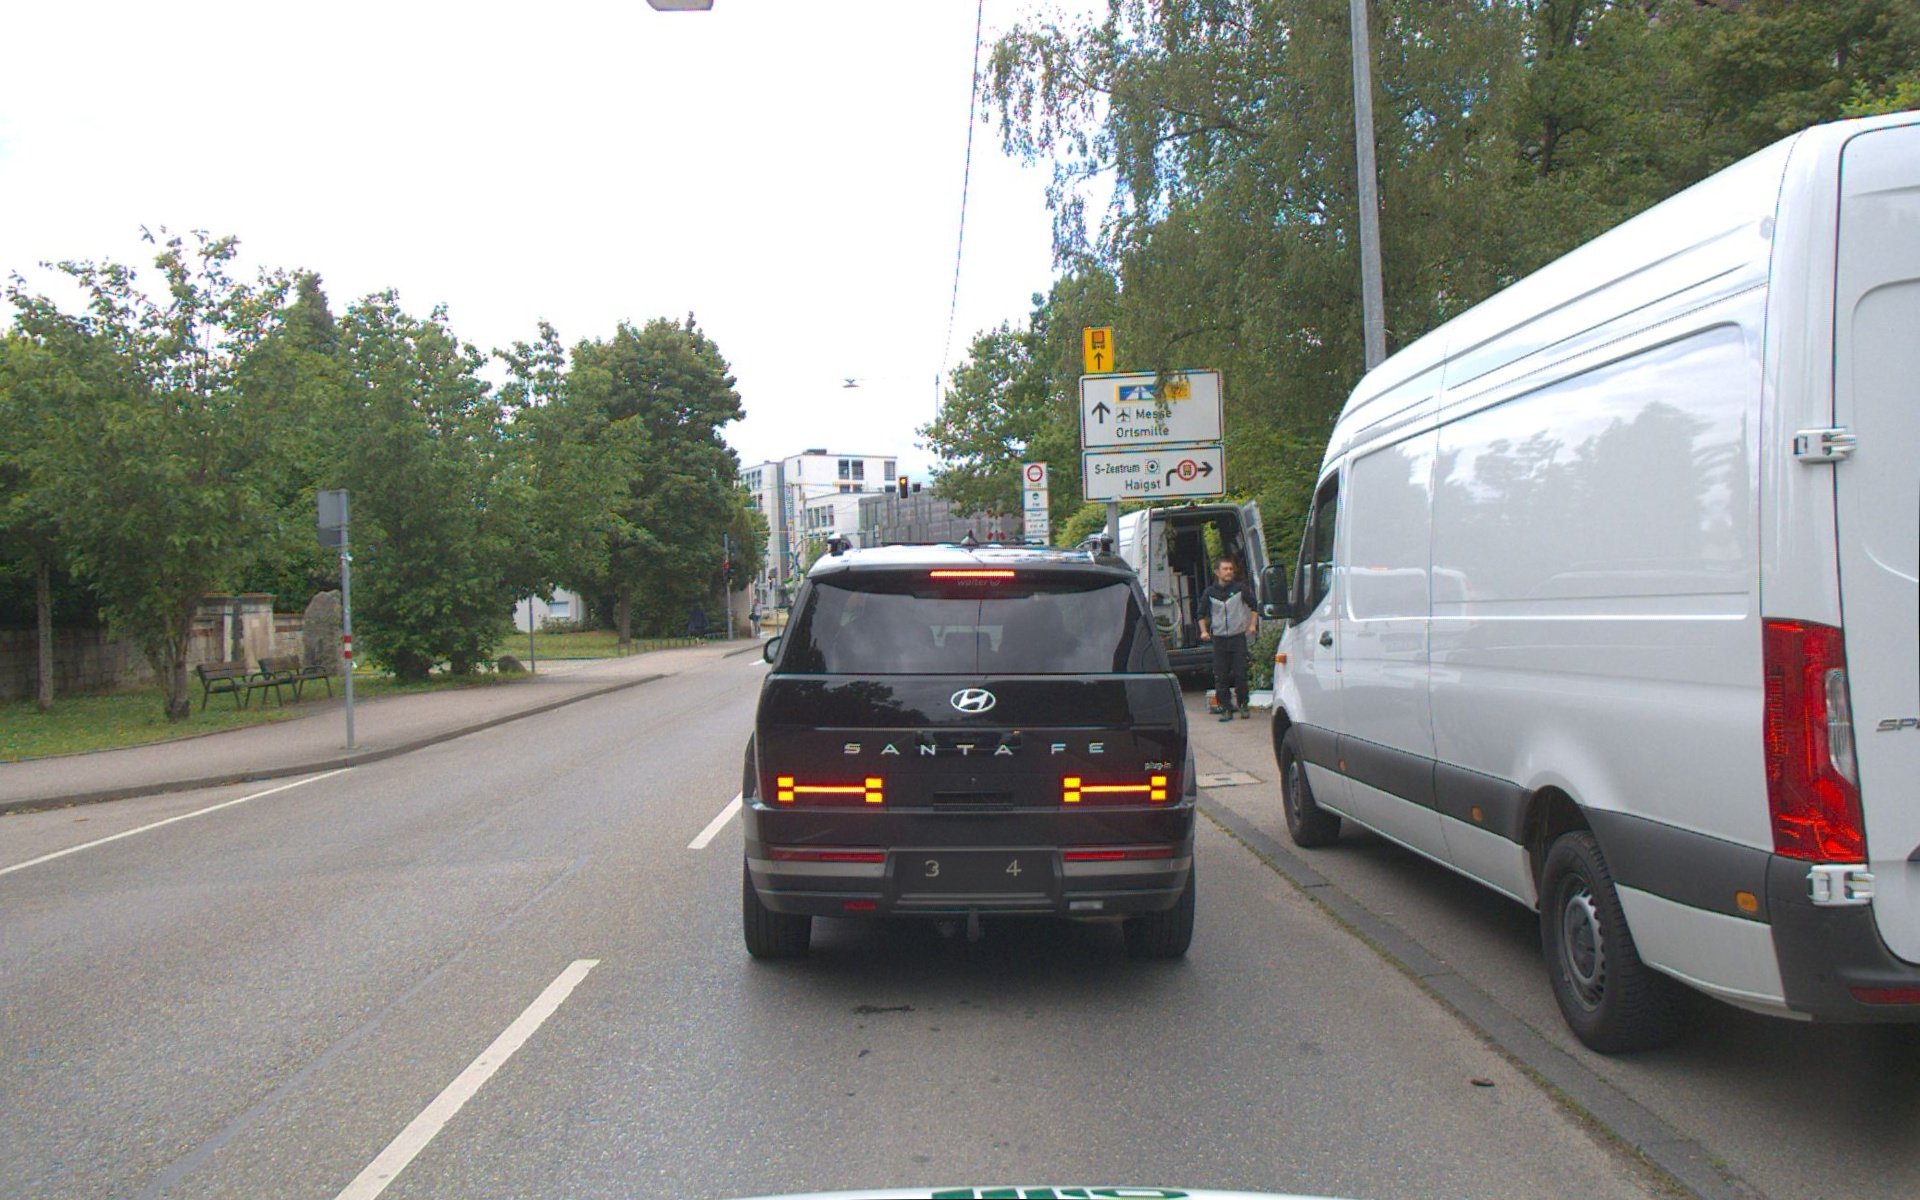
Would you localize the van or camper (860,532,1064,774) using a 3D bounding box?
[{"bbox_3d":[-0.011,0.457,16.369,1.719,2.049,3.999,-2,0,-1],"label":"van or camper"}]

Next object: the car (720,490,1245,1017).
[{"bbox_3d":[0.053,0.535,7.848,1.851,1.851,3.999,0,0,-1],"label":"car"}]

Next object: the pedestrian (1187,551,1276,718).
[{"bbox_3d":[3.061,0.381,18.707,0.743,1.828,0.871,-2,0,-7],"label":"pedestrian"}]

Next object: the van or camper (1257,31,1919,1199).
[{"bbox_3d":[2.912,0.003,7.065,1.953,2.665,6.540,-2,0,-1],"label":"van or camper"}]

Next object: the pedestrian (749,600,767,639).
[{"bbox_3d":[-9.089,0.866,74.452,0.724,1.745,0.791,-2,0,-8],"label":"pedestrian"}]

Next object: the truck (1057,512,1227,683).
[{"bbox_3d":[3.029,-0.023,28.735,1.904,2.606,5.211,-3,0,-4],"label":"truck"}]

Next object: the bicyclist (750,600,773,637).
[{"bbox_3d":[-9.377,0.864,78.137,0.812,1.721,0.717,1,-1,30],"label":"bicyclist"}]

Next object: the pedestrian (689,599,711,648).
[{"bbox_3d":[-9.505,0.863,60.457,0.724,1.745,0.791,-2,0,-8],"label":"pedestrian"}]
